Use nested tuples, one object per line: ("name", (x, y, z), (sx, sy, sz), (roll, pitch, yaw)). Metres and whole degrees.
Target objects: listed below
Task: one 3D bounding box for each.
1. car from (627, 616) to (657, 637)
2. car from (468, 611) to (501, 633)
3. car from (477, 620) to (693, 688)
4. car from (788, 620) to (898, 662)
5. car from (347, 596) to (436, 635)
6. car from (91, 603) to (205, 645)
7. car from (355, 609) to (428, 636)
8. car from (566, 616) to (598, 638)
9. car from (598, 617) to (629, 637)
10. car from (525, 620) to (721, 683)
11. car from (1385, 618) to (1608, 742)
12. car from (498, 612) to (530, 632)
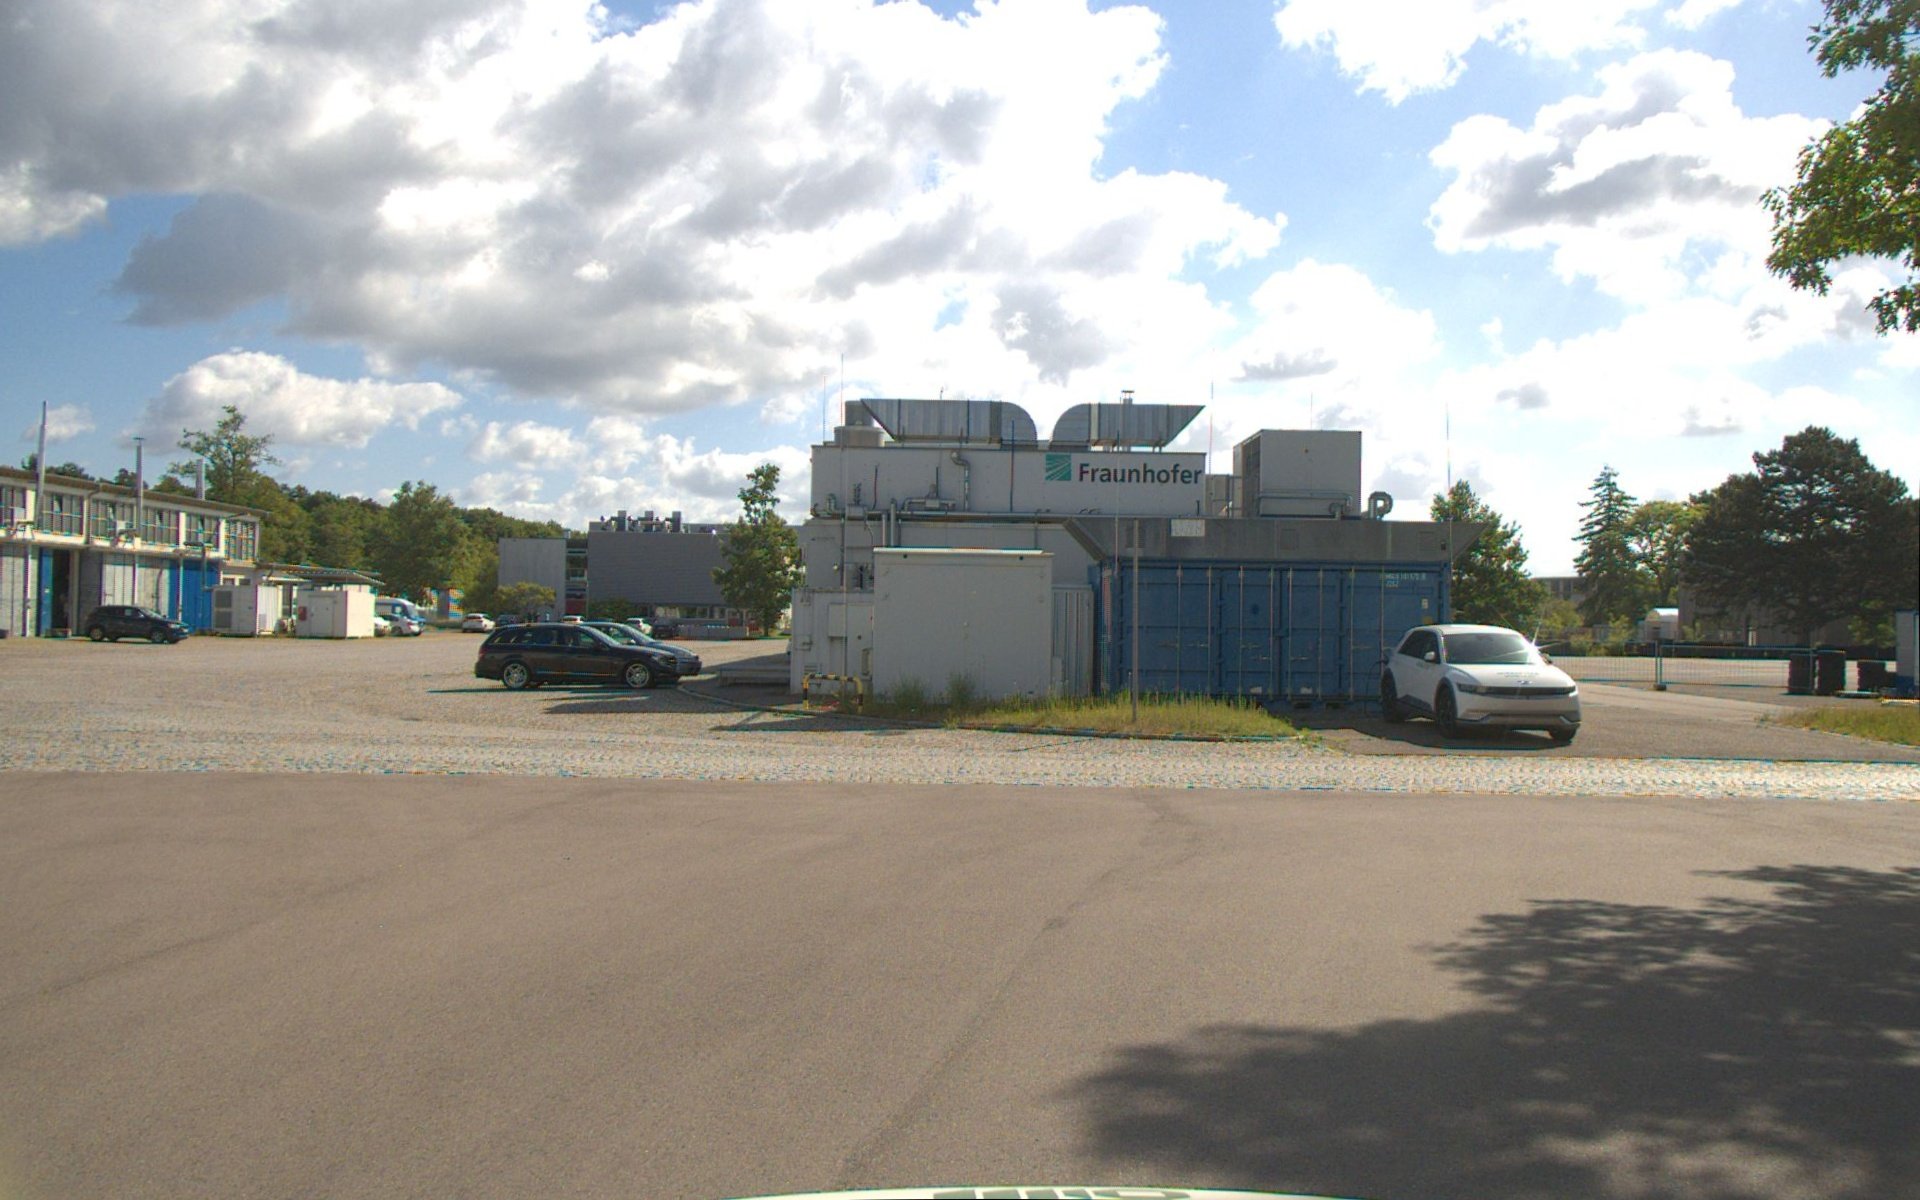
("car", (-25.809, 2.161, 134.271), (1.840, 1.564, 4.033), (-1, -1, -3))
("car", (-38.469, 1.791, 133.838), (1.811, 1.698, 4.128), (-1, -1, -6))
("car", (-8.447, 1.235, 37.587), (4.437, 1.468, 1.987), (0, -3, -1))
("car", (-4.581, 1.629, 65.403), (4.192, 1.597, 1.987), (0, -3, -1))
("car", (-37.881, 1.021, 110.344), (5.148, 2.485, 2.050), (1, -1, 3))
("car", (-36.289, 1.098, 73.988), (4.079, 1.695, 1.783), (2, -1, -3))
("car", (-36.887, 1.442, 107.414), (4.024, 1.659, 1.808), (1, -1, 3))
("car", (-30.604, 2.181, 134.108), (1.840, 1.719, 4.033), (-1, -1, -3))
("car", (-28.086, 2.203, 134.005), (1.840, 1.564, 4.033), (-1, -1, -3))
("car", (-8.256, 1.283, 40.848), (4.437, 1.468, 1.903), (0, -3, -1))
("car", (8.063, 1.147, 25.306), (1.941, 1.621, 4.339), (1, 0, -1))
("car", (-36.063, 1.806, 133.766), (1.841, 1.564, 4.030), (-1, -1, -6))
